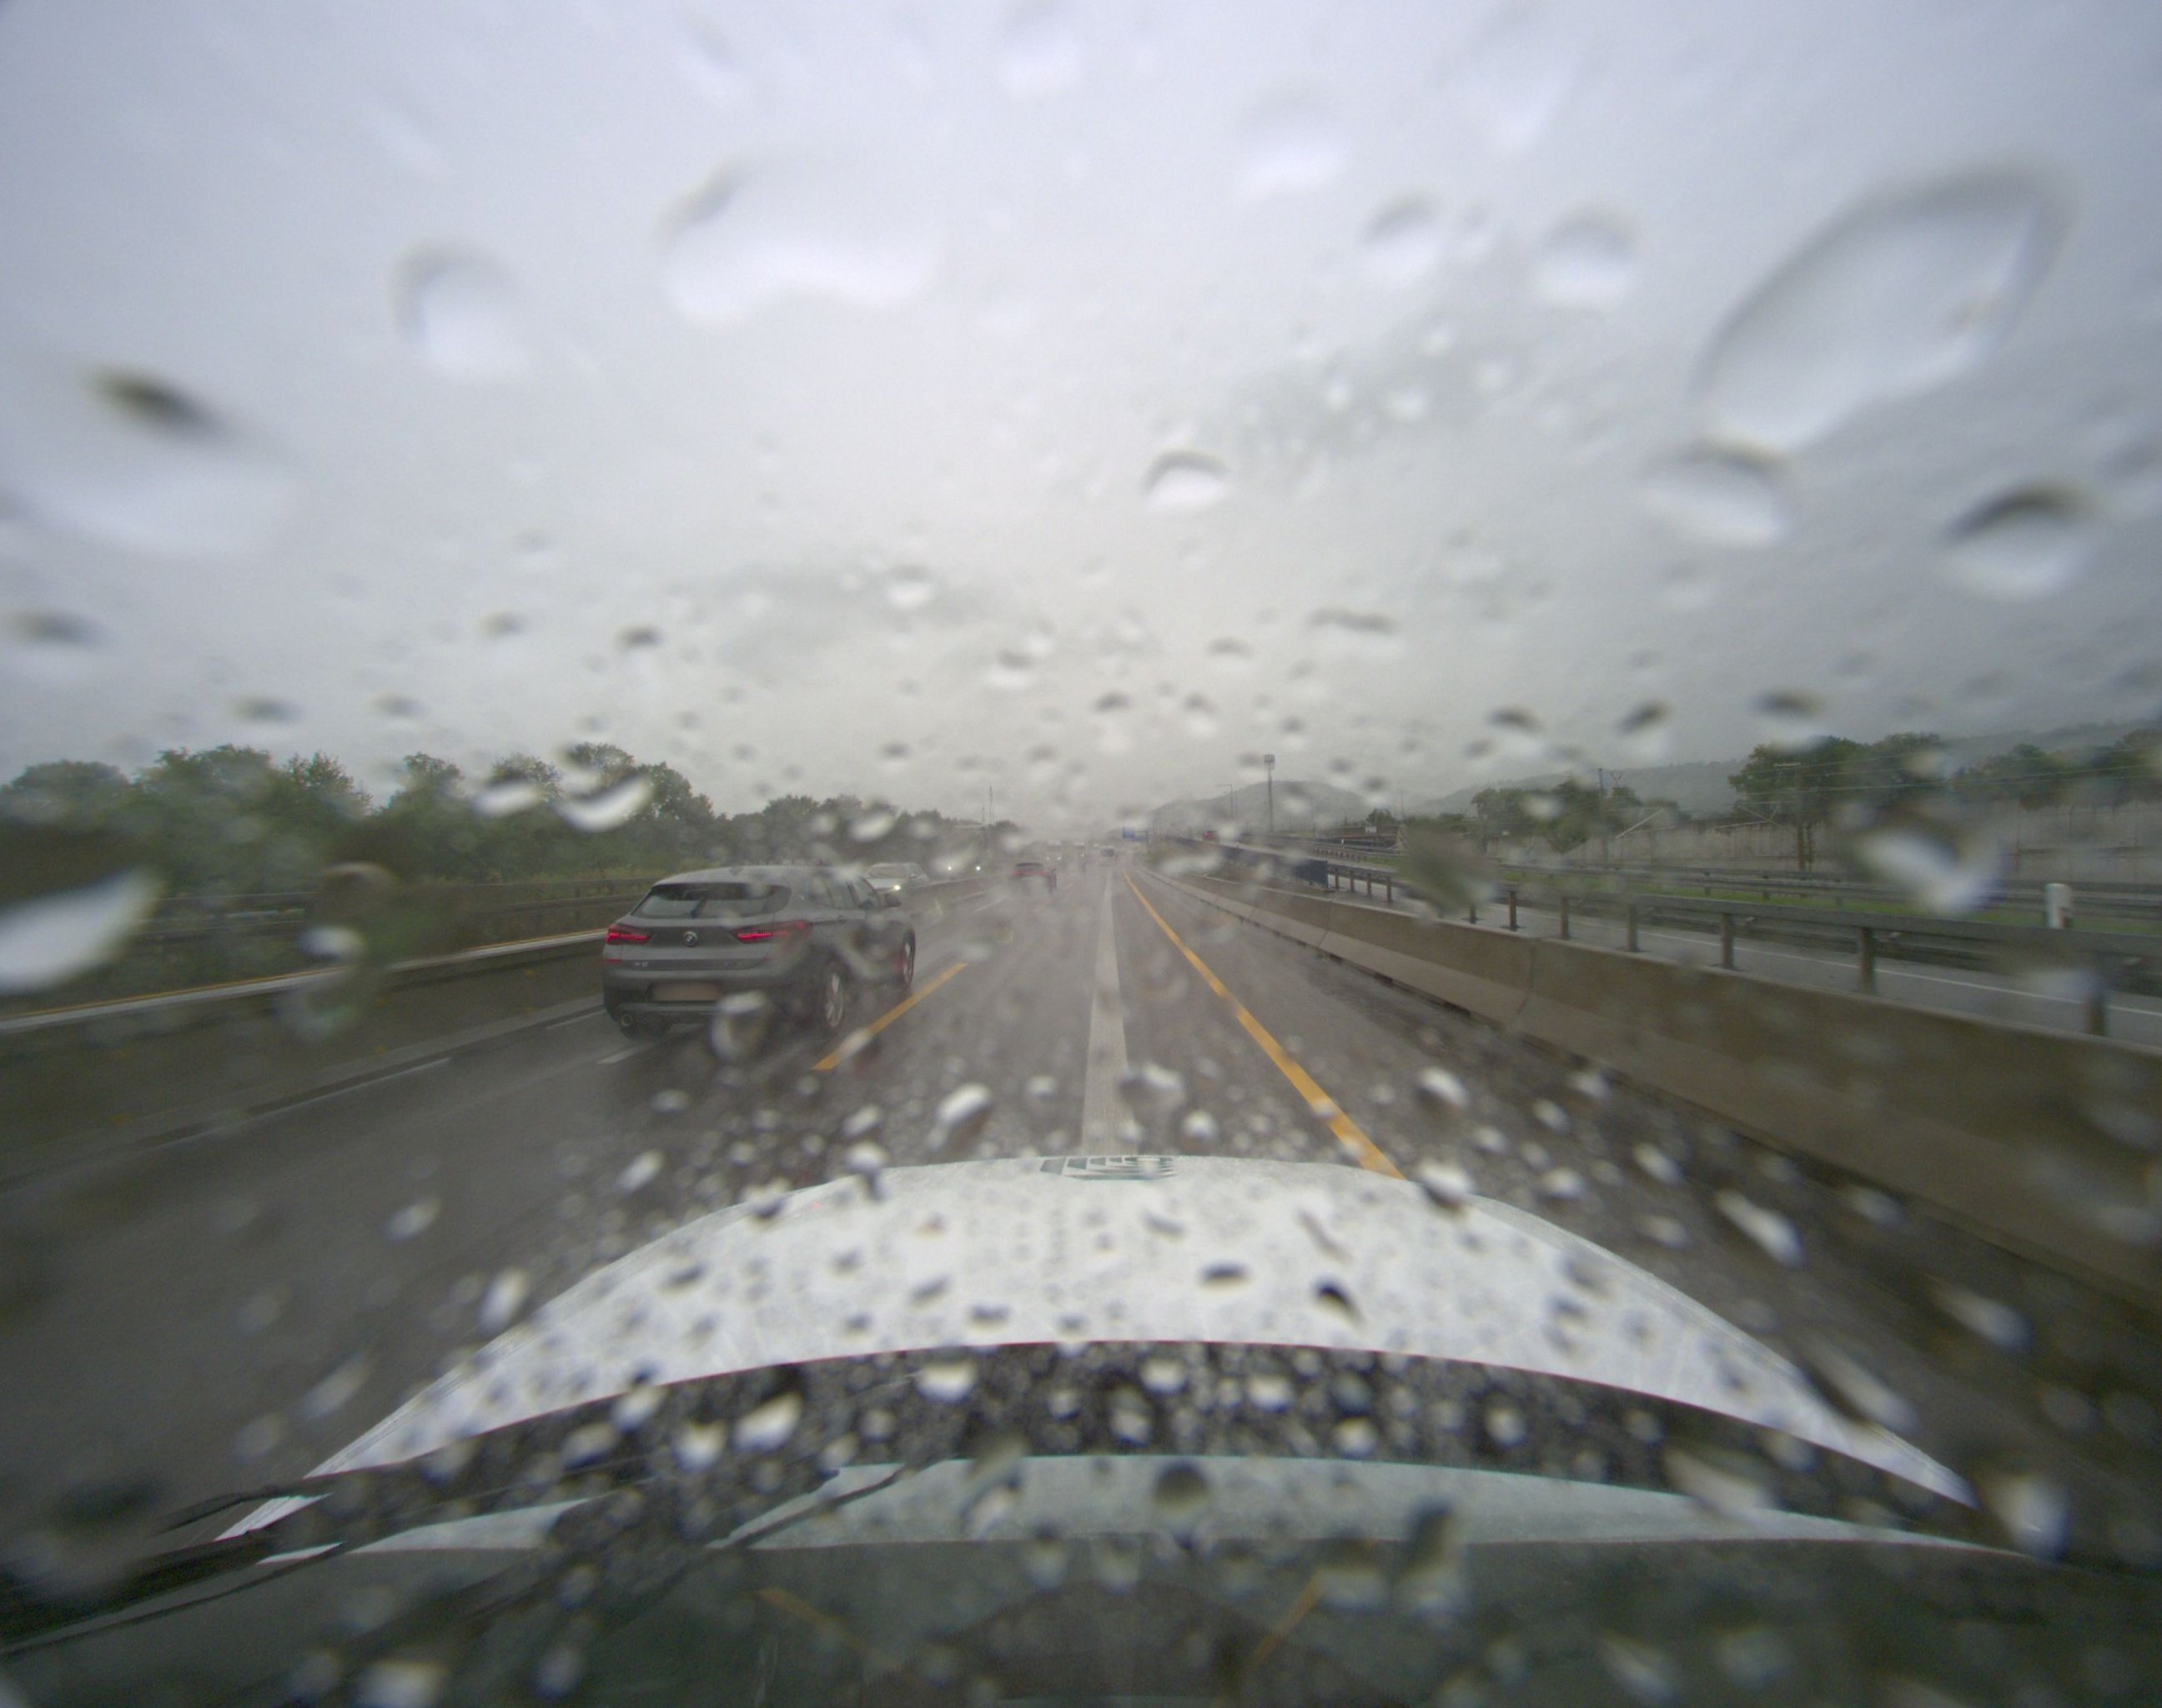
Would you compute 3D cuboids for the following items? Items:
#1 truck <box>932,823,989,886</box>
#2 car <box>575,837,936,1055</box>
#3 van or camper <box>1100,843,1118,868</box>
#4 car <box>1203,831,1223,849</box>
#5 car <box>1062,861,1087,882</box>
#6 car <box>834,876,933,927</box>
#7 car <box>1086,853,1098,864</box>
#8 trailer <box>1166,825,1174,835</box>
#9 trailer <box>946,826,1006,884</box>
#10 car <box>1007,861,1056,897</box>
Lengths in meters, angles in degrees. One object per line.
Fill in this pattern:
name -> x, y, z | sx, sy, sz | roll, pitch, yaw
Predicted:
truck -> -8.237, 0.080, 56.482 | 2.632, 4.127, 6.698 | -1, -1, 2
car -> -2.860, 0.701, 8.488 | 1.695, 1.598, 4.846 | -1, 0, 1
van or camper -> 3.123, 0.178, 91.240 | 1.989, 2.777, 4.050 | -1, -1, 1
car -> 16.927, -1.773, 104.318 | 1.986, 2.142, 4.001 | -1, -1, 1
car -> -0.495, 1.385, 65.146 | 1.838, 1.491, 4.263 | -3, 0, 1
car -> -6.498, 1.524, 27.434 | 2.030, 1.506, 4.722 | -1, -1, 2
car -> 1.642, 0.614, 117.827 | 1.561, 1.480, 2.822 | -3, -1, 1
trailer -> 24.087, -6.396, 220.719 | 1.984, 2.106, 13.785 | -1, -1, 5
trailer -> -7.990, 0.173, 63.614 | 2.640, 4.109, 12.319 | -1, -1, 2
car -> -2.151, 1.094, 36.550 | 1.837, 1.491, 4.262 | -1, -1, 1
